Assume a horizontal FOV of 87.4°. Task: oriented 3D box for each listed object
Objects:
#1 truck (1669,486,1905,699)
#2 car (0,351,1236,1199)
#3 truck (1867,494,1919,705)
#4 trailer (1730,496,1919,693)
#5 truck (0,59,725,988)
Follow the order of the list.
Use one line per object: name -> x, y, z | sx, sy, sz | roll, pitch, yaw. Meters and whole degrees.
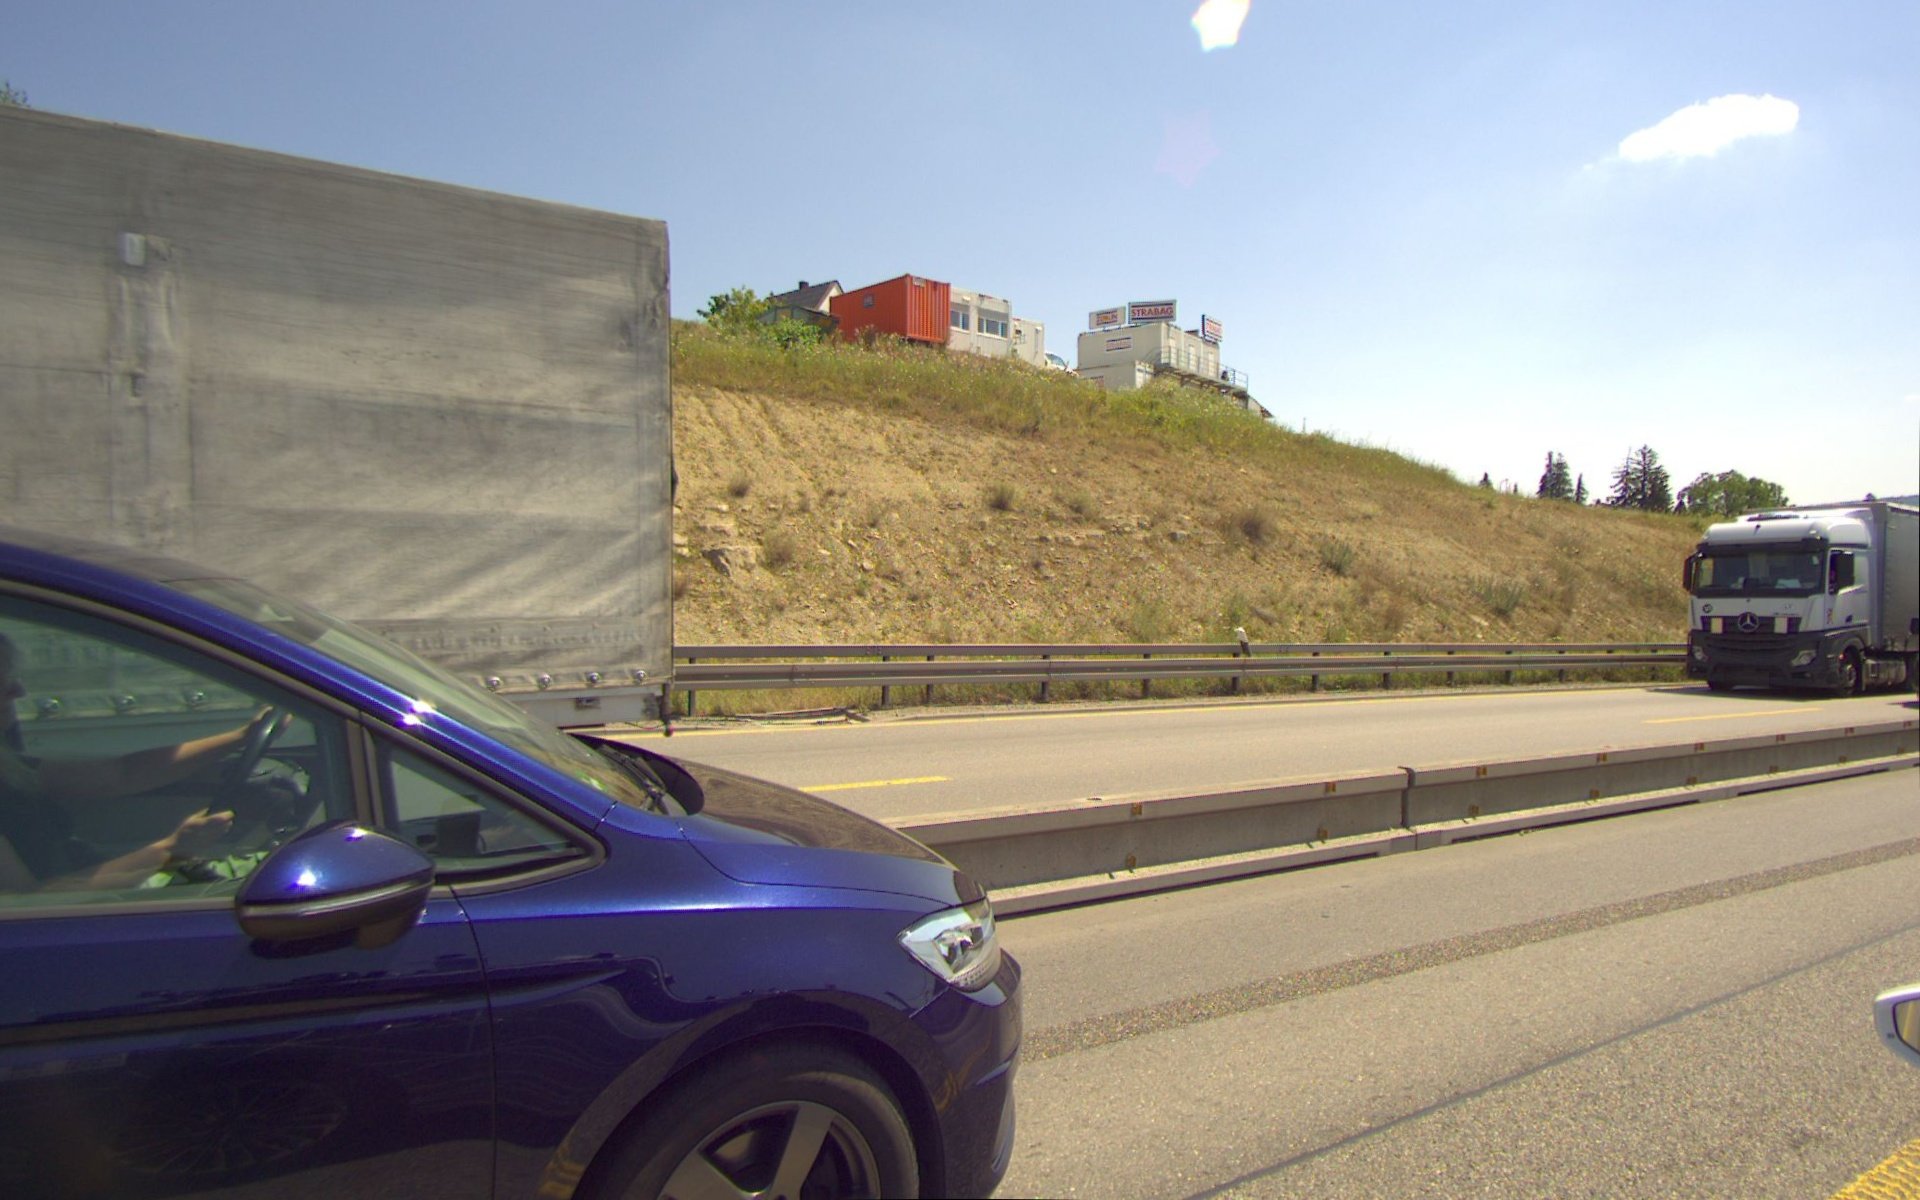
truck -> 17.718, -0.135, 21.549 | 3.909, 4.104, 2.685 | 1, 1, -31
car -> -1.790, 0.557, 1.905 | 4.597, 1.741, 1.767 | 0, 1, -30
truck -> 20.701, 0.050, 19.455 | 7.273, 3.809, 2.576 | 1, 1, -31
trailer -> 24.287, -0.040, 25.468 | 13.543, 4.078, 2.684 | 1, 0, -31
truck -> -4.826, -0.300, 4.405 | 6.956, 3.419, 2.525 | 1, 0, -31
